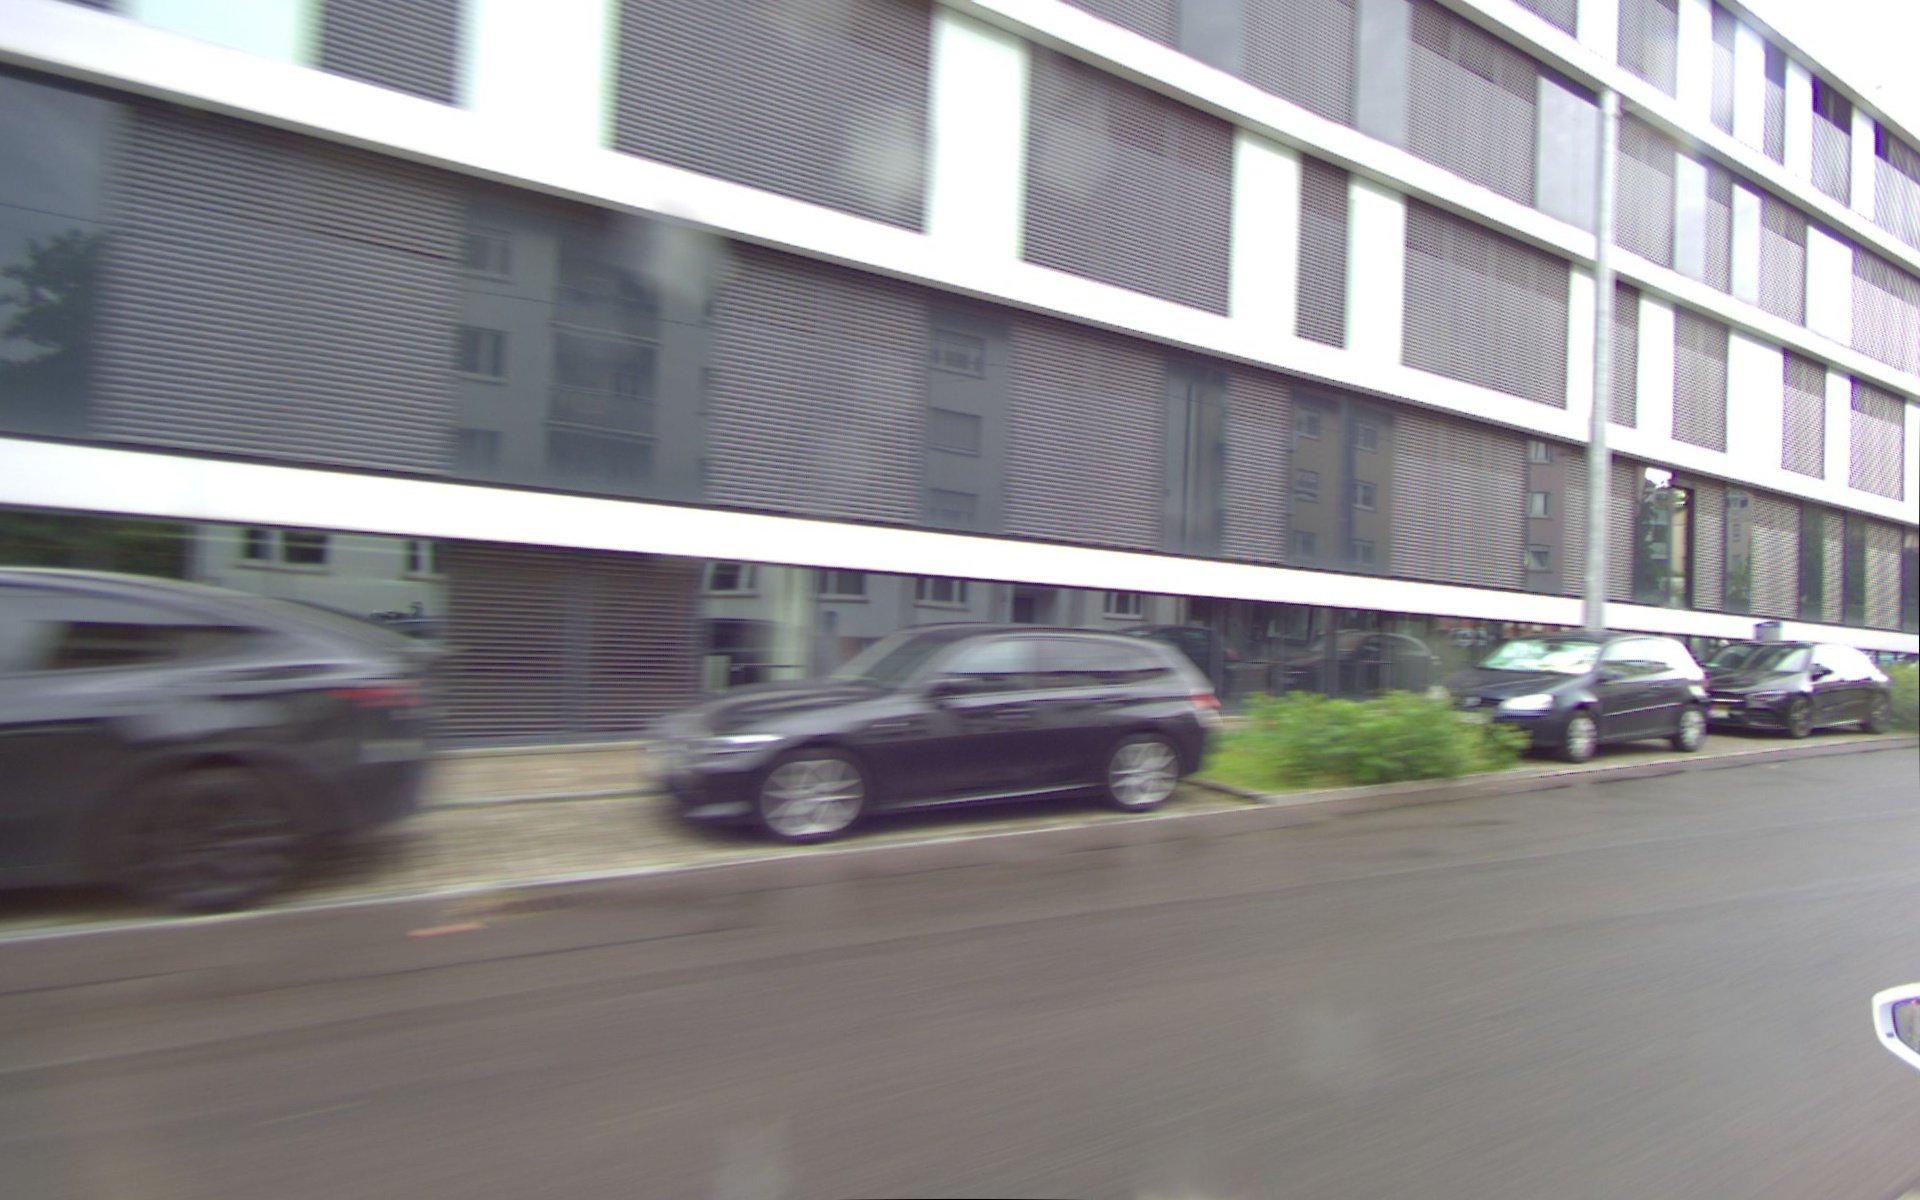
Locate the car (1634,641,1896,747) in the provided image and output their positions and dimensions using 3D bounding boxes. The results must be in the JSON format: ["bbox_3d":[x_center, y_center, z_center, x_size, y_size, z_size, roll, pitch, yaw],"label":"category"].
[{"bbox_3d":[12.905,1.444,16.044,4.341,1.414,1.829,2,-1,-30],"label":"car"}]

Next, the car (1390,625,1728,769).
[{"bbox_3d":[7.693,1.157,12.829,4.296,1.509,1.854,2,-1,-30],"label":"car"}]

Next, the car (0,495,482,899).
[{"bbox_3d":[-5.154,0.398,5.011,4.880,1.773,1.955,3,-1,-28],"label":"car"}]

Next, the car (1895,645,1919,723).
[{"bbox_3d":[21.352,1.752,20.812,4.266,1.555,1.762,2,0,-31],"label":"car"}]

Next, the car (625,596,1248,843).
[{"bbox_3d":[-0.071,0.812,8.085,4.685,1.492,1.862,2,-1,-30],"label":"car"}]
